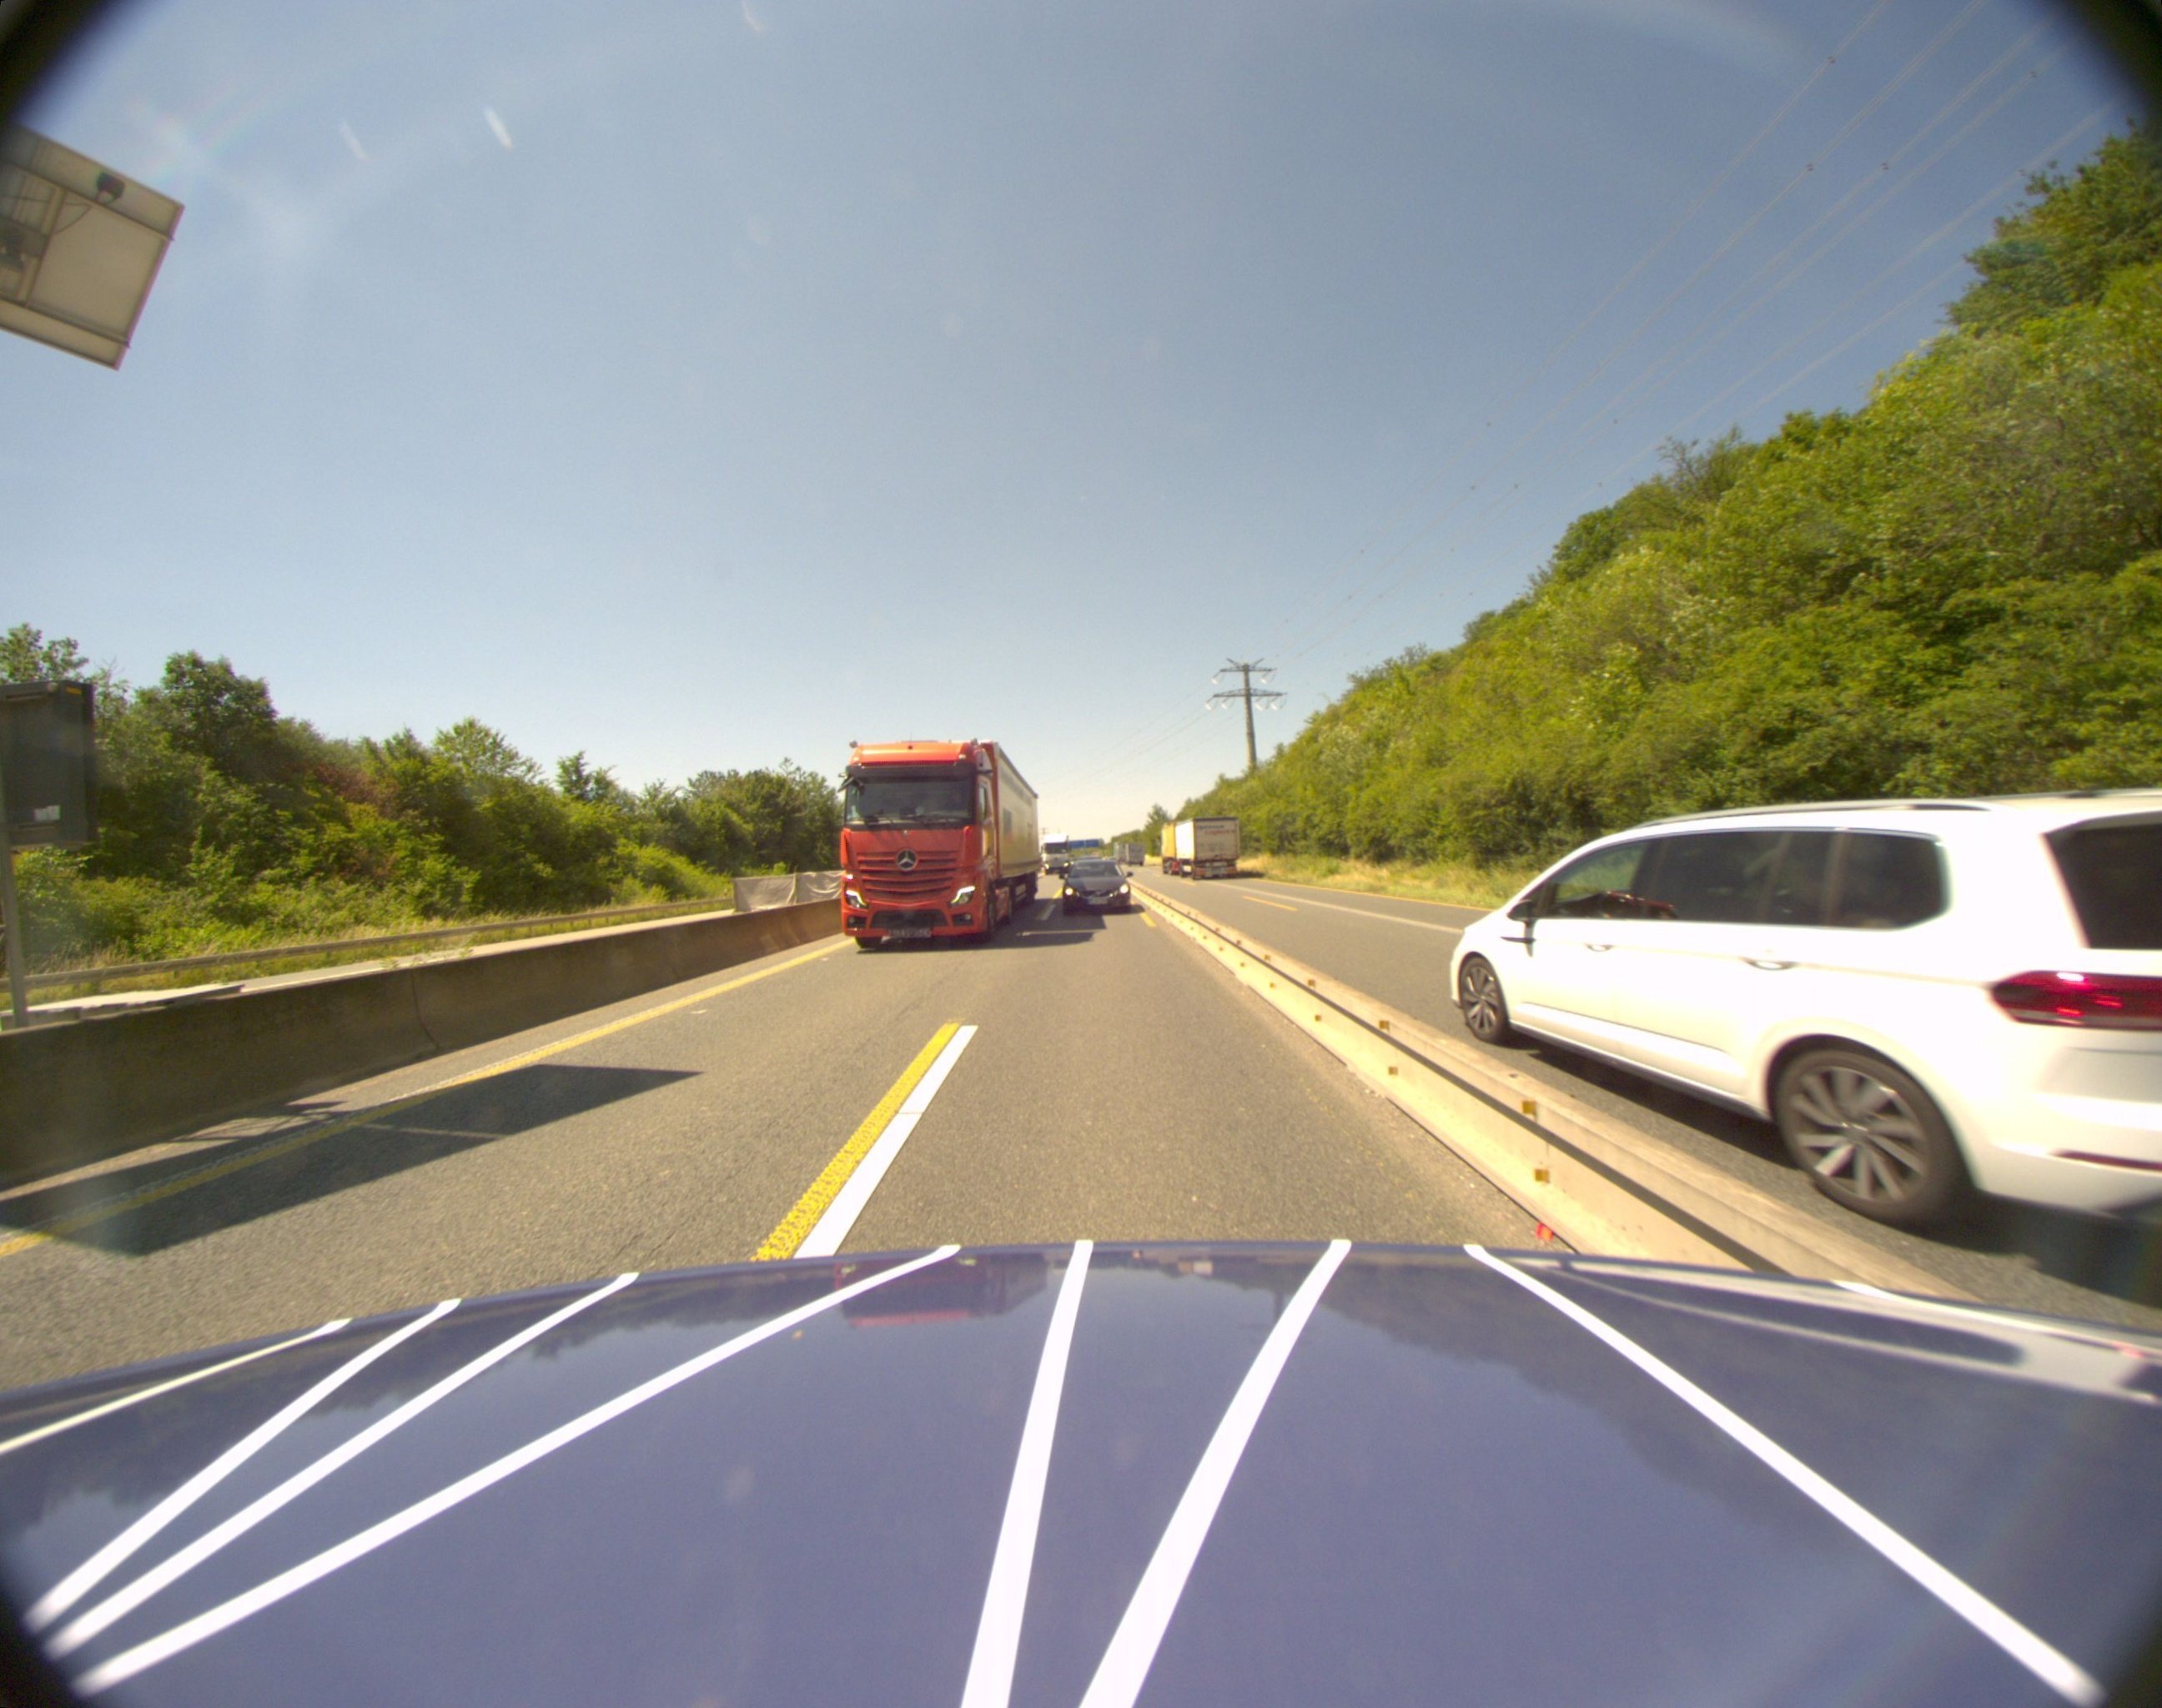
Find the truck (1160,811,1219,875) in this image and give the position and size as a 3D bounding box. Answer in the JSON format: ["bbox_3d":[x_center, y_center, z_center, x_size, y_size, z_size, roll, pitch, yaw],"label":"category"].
[{"bbox_3d":[7.529,-0.740,54.040,2.656,3.969,9.650,-4,0,1],"label":"truck"}]

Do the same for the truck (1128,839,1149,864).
[{"bbox_3d":[8.072,-0.431,107.789,2.411,3.311,7.498,-3,1,1],"label":"truck"}]

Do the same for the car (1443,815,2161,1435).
[{"bbox_3d":[3.748,0.679,3.818,1.829,1.621,4.150,-2,1,0],"label":"car"}]

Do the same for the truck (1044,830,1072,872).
[{"bbox_3d":[-2.335,-0.288,81.351,2.481,4.030,13.109,-3,0,-1],"label":"truck"}]

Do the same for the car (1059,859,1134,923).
[{"bbox_3d":[0.418,0.927,20.943,1.767,1.411,4.699,-3,1,1],"label":"car"}]

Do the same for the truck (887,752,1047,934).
[{"bbox_3d":[-2.865,-0.304,23.734,2.689,3.987,13.217,-3,1,1],"label":"truck"}]

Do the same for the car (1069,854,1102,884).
[{"bbox_3d":[0.275,0.847,44.193,1.767,1.523,4.699,-3,1,1],"label":"car"}]

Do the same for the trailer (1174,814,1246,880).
[{"bbox_3d":[7.378,-0.352,44.745,2.657,3.317,8.919,-4,0,1],"label":"trailer"}]

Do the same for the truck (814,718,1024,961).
[{"bbox_3d":[-2.988,-0.267,16.194,2.689,3.987,6.725,-3,1,1],"label":"truck"}]

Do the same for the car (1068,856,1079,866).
[{"bbox_3d":[-1.327,1.196,134.161,1.767,1.523,4.698,-3,1,-1],"label":"car"}]

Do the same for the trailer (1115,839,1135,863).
[{"bbox_3d":[8.182,-0.554,141.989,2.899,4.101,13.243,-3,0,0],"label":"trailer"}]

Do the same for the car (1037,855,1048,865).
[{"bbox_3d":[-6.635,1.003,131.004,1.767,1.523,4.697,-3,1,-2],"label":"car"}]

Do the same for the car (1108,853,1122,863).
[{"bbox_3d":[4.952,0.559,110.834,1.846,1.481,4.510,-1,1,0],"label":"car"}]
